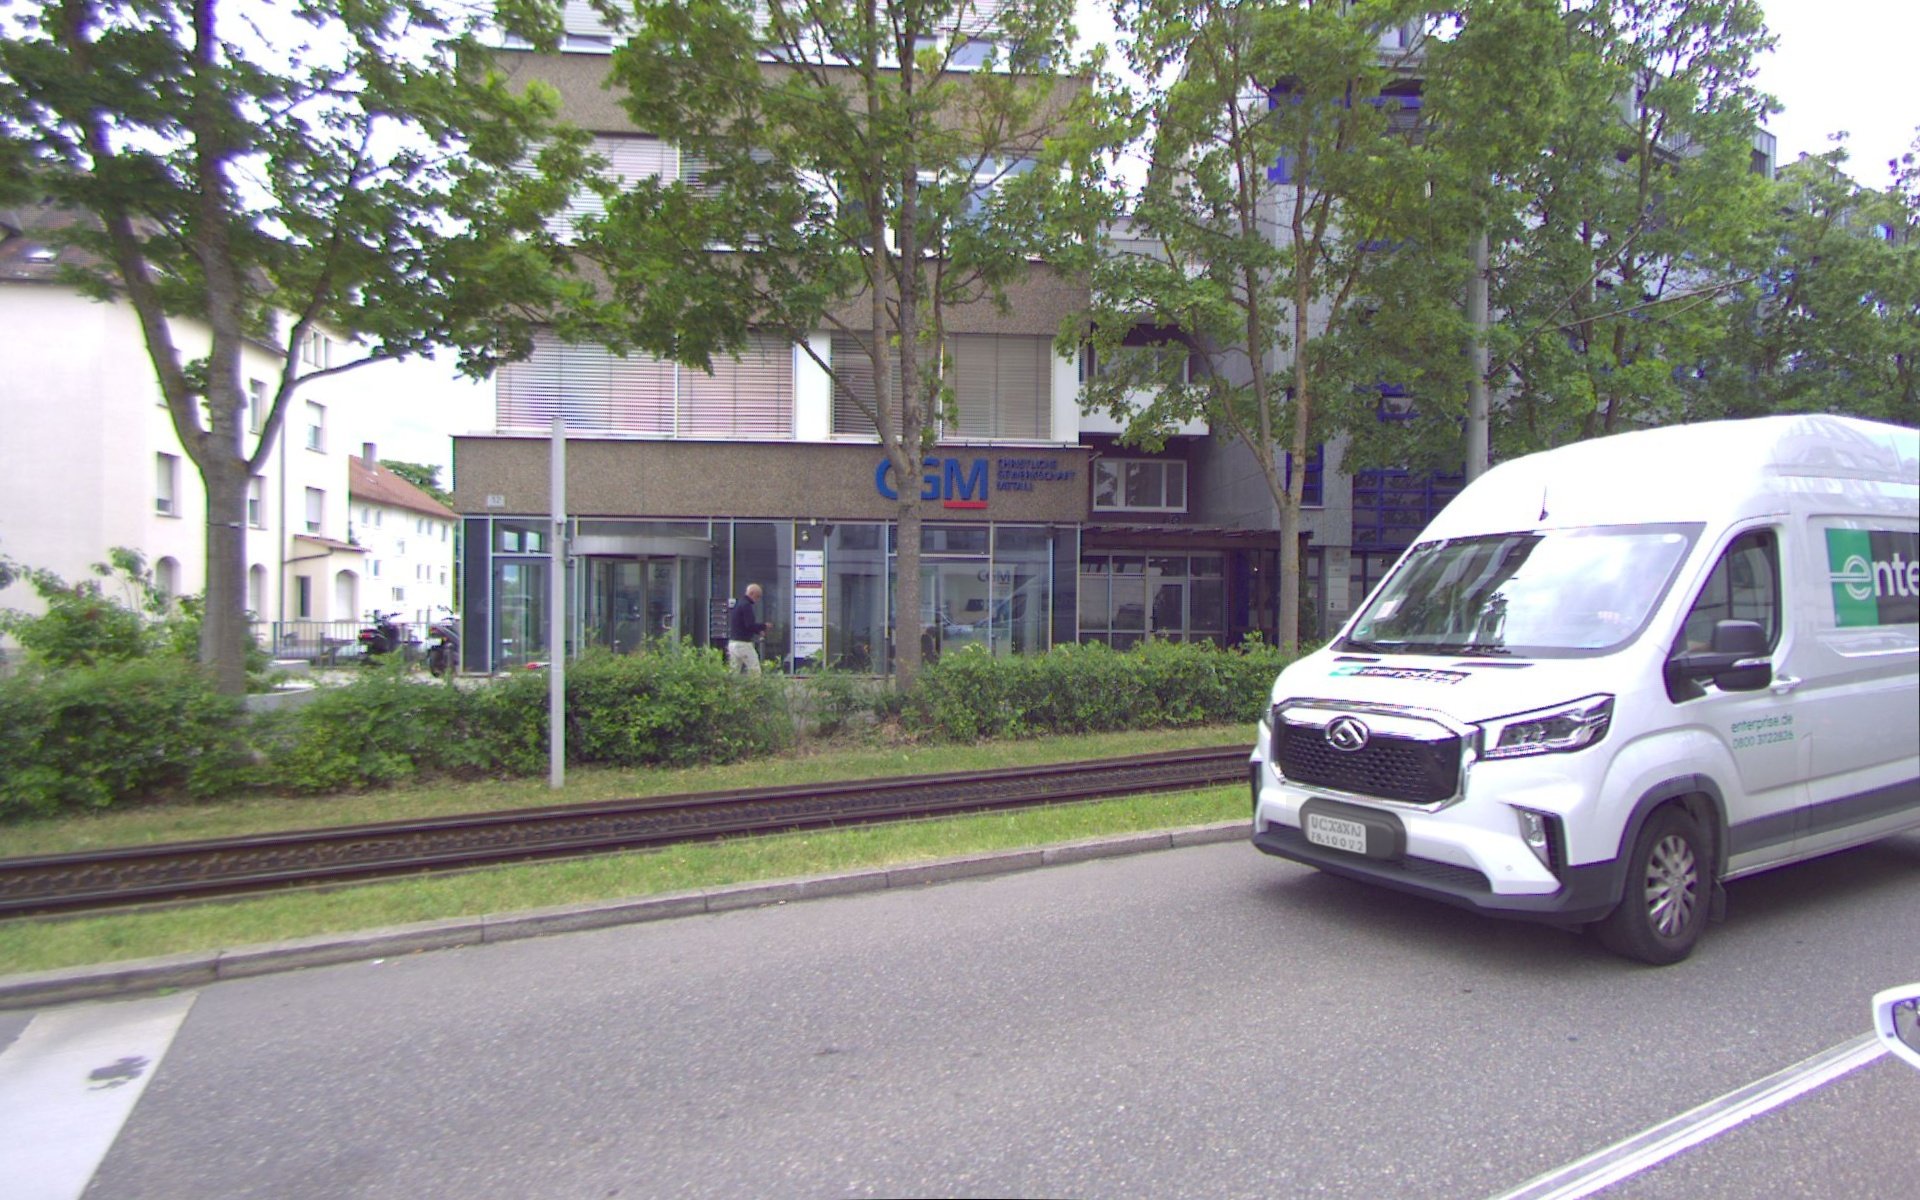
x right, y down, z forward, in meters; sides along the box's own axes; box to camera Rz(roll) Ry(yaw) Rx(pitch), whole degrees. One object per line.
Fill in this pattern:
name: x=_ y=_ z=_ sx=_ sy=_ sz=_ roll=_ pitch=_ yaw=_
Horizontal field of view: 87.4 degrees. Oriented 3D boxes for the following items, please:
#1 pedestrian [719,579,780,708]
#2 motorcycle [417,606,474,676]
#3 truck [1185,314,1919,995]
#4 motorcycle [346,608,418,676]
pedestrian: x=-2.940 y=0.601 z=14.012 sx=0.674 sy=1.728 sz=0.685 roll=1 pitch=-2 yaw=-27
motorcycle: x=-9.413 y=0.725 z=18.424 sx=0.559 sy=1.215 sz=1.879 roll=1 pitch=-1 yaw=-16
truck: x=4.314 y=0.264 z=6.274 sx=5.726 sy=2.650 sz=2.156 roll=1 pitch=-1 yaw=-30
motorcycle: x=-10.861 y=0.760 z=18.934 sx=0.558 sy=1.215 sz=1.881 roll=1 pitch=-1 yaw=-11
